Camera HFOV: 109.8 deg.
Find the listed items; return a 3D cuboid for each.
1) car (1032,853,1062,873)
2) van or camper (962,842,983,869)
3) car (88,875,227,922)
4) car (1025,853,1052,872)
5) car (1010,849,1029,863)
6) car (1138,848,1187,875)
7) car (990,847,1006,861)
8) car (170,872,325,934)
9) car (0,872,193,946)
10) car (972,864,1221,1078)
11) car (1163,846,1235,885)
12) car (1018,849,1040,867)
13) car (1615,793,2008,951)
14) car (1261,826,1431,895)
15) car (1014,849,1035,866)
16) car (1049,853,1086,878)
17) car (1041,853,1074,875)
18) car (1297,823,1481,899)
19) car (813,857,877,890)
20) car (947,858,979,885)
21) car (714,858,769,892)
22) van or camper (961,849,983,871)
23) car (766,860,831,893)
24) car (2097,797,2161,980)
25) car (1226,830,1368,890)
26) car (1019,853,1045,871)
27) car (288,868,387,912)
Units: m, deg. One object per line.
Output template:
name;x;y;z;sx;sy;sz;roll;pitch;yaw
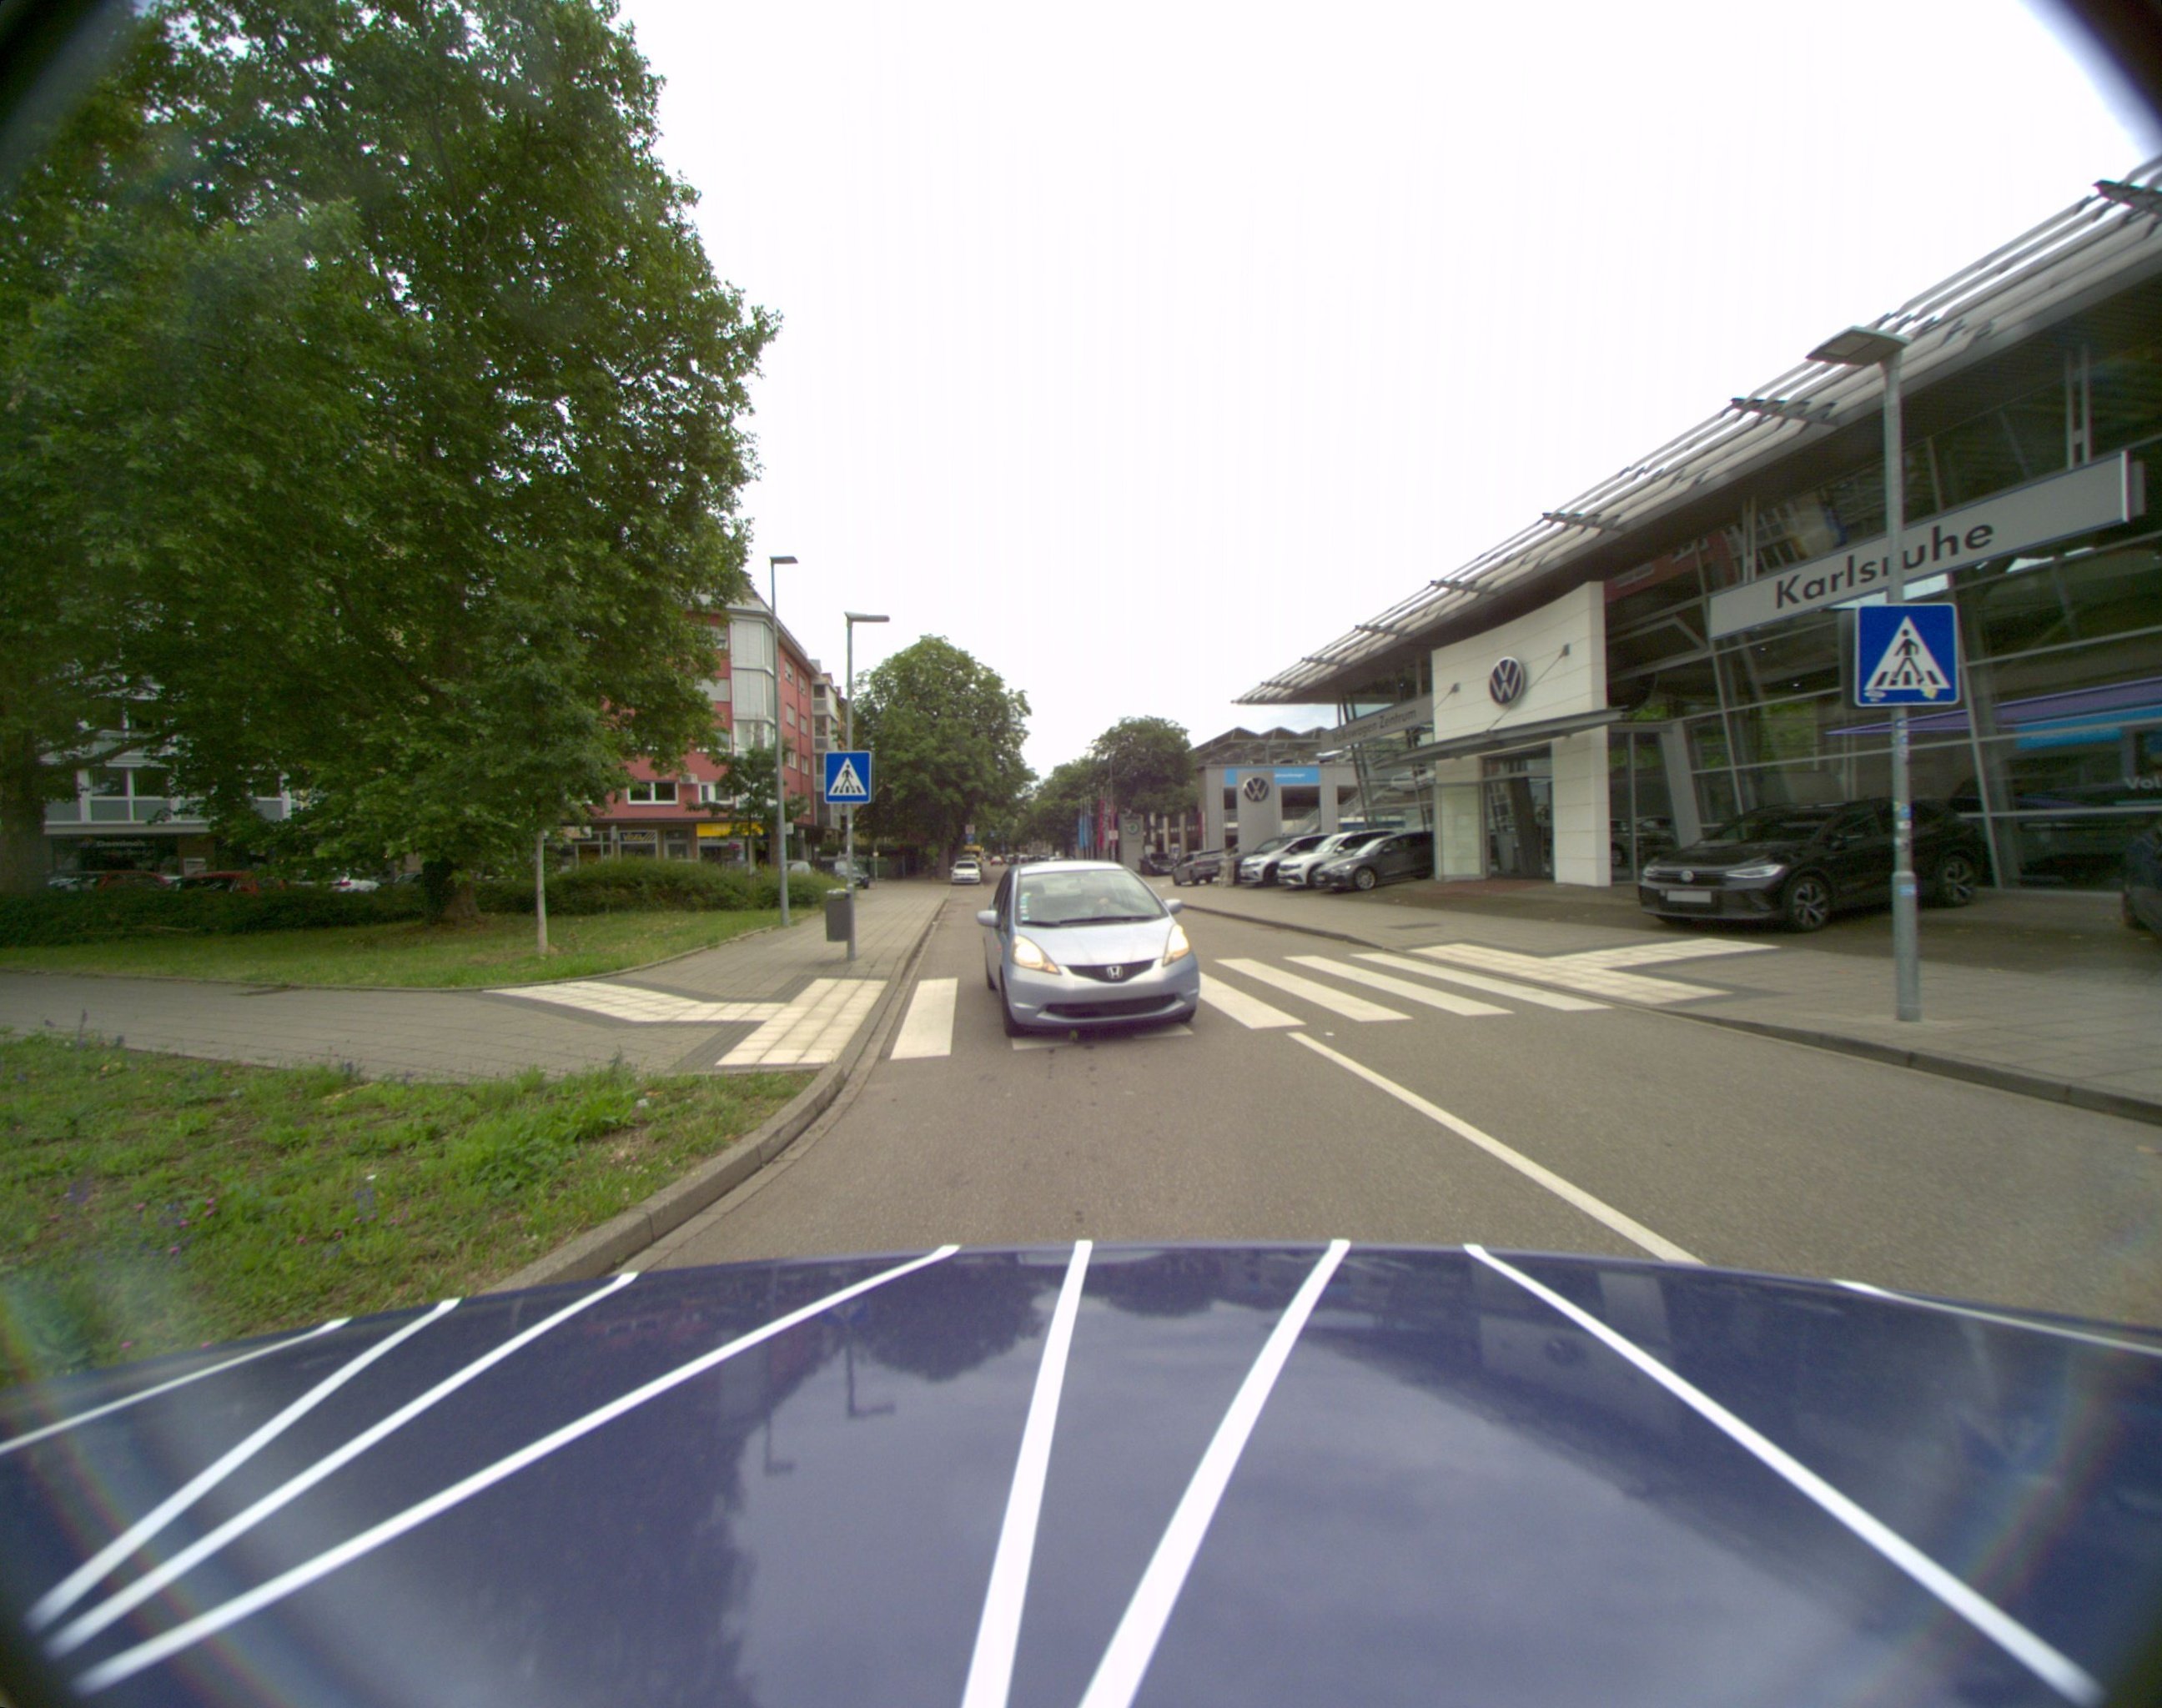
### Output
car;-2.970;0.746;65.692;1.861;1.614;4.471;-3;1;-11
van or camper;-11.313;0.138;79.532;2.000;2.756;3.997;-2;1;-8
car;-34.220;1.581;28.339;1.864;1.481;4.465;-2;0;-31
car;-4.018;0.735;70.500;1.861;1.614;4.471;-3;1;-11
car;-8.808;0.265;108.374;2.024;1.974;4.778;-3;1;-11
car;5.253;0.444;49.436;1.899;1.539;4.471;-3;1;-11
car;-12.658;0.040;115.699;2.024;1.974;4.778;-3;1;-11
car;-24.633;1.357;22.677;1.864;1.539;4.465;-2;0;-31
car;-27.145;1.424;21.110;1.864;1.712;4.465;-2;1;-31
car;-0.142;0.914;7.880;1.755;1.458;4.094;-3;1;-10
car;5.288;0.506;34.616;1.920;1.554;4.011;-3;0;-11
car;-6.051;0.408;87.935;1.861;1.974;4.471;-3;1;-11
car;10.292;0.191;10.794;4.511;1.623;1.859;-5;1;-14
car;8.515;0.191;24.580;4.775;1.689;1.860;-5;1;-9
car;-6.987;0.381;93.604;2.024;1.974;4.778;-3;1;-11
car;-0.997;0.794;54.791;1.861;1.614;4.471;-3;1;-11
car;-1.917;0.761;60.558;1.861;1.614;4.471;-3;1;-11
car;8.790;0.177;21.865;4.475;1.687;1.896;-5;1;-9
car;-12.623;1.003;40.423;1.864;1.539;4.463;-3;2;-36
car;-7.332;1.020;47.264;1.861;1.539;4.471;0;0;-9
car;-17.032;1.004;37.999;1.864;1.539;4.465;-2;1;-32
van or camper;-10.703;0.597;74.839;2.000;2.002;3.997;-2;0;-8
car;-14.766;1.125;39.597;1.864;1.539;4.463;-3;2;-38
car;10.833;0.276;6.650;4.346;1.496;1.853;-6;3;-43
car;7.770;0.191;27.542;4.475;1.689;1.868;-5;1;-8
car;-4.889;0.788;75.265;1.861;1.614;4.471;-3;1;-11
car;-30.203;1.400;31.030;1.864;1.539;4.465;-2;0;-31
